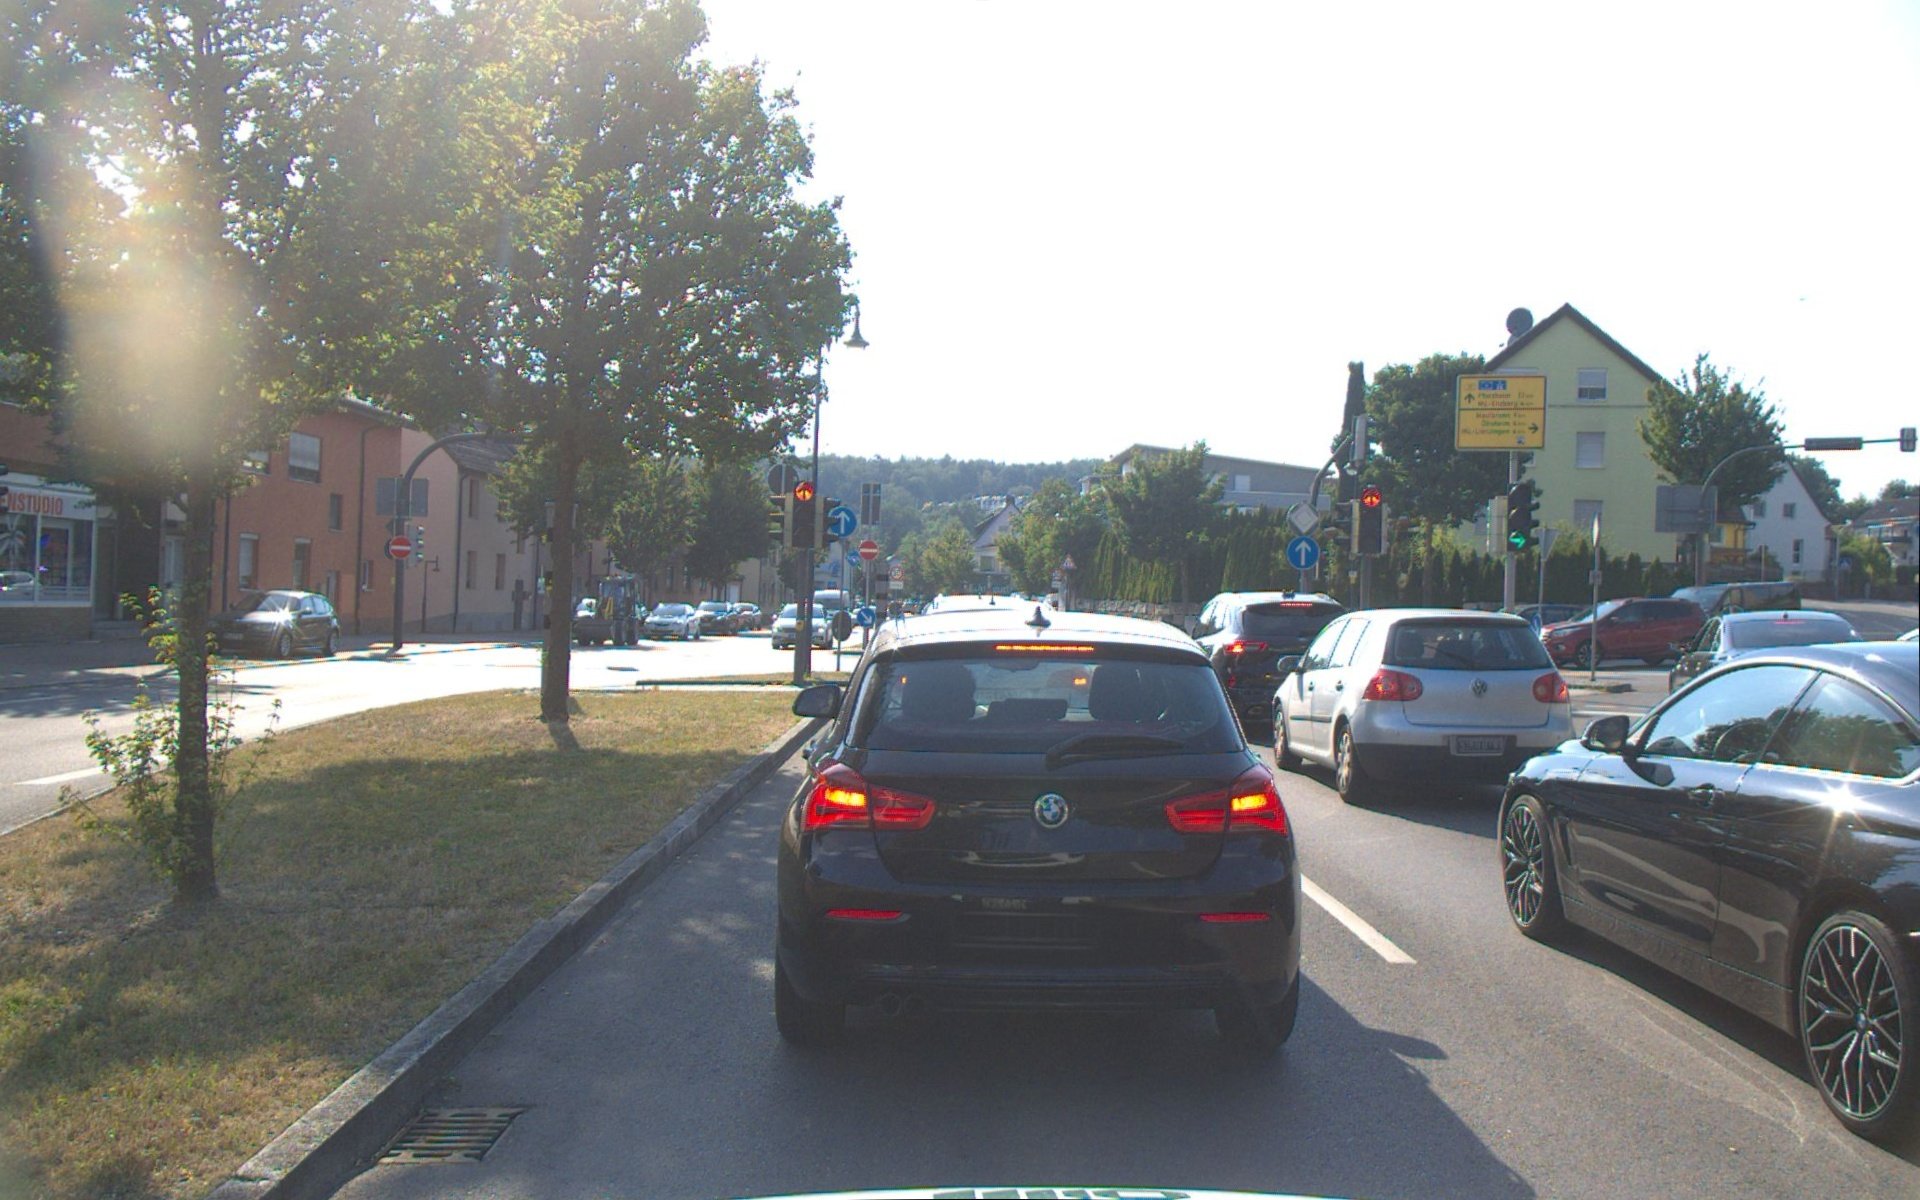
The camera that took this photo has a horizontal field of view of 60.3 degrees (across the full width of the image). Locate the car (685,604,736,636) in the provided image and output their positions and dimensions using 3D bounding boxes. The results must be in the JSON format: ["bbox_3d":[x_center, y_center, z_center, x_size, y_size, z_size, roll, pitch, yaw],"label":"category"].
[{"bbox_3d":[-12.074,0.951,80.253,1.701,1.323,3.800,5,0,2],"label":"car"}]

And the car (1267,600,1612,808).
[{"bbox_3d":[3.796,0.744,13.782,1.725,1.451,3.902,-1,0,0],"label":"car"}]

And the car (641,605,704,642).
[{"bbox_3d":[-11.862,0.952,68.439,1.701,1.323,3.800,5,0,2],"label":"car"}]

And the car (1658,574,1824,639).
[{"bbox_3d":[22.387,0.203,47.383,4.712,1.770,1.832,1,0,-27],"label":"car"}]

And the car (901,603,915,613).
[{"bbox_3d":[-7.483,1.121,239.403,1.701,1.323,3.800,5,0,2],"label":"car"}]

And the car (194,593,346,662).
[{"bbox_3d":[-15.470,0.577,37.298,1.702,1.323,3.999,5,0,-1],"label":"car"}]

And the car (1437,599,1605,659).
[{"bbox_3d":[15.170,0.768,44.842,3.907,1.515,1.847,1,0,-3],"label":"car"}]

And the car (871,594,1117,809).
[{"bbox_3d":[0.240,0.719,13.990,1.751,1.520,4.280,-1,0,0],"label":"car"}]

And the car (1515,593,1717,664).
[{"bbox_3d":[16.326,0.695,41.263,4.333,1.670,1.845,1,0,-8],"label":"car"}]

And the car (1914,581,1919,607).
[{"bbox_3d":[65.158,-0.425,110.795,1.930,1.709,4.202,0,0,34],"label":"car"}]

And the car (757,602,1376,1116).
[{"bbox_3d":[0.300,0.738,6.845,1.751,1.422,4.280,-1,0,0],"label":"car"}]

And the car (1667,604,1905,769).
[{"bbox_3d":[9.049,0.856,18.467,1.621,1.569,4.401,-1,0,17],"label":"car"}]

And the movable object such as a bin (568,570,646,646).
[{"bbox_3d":[-12.013,0.266,56.550,1.701,2.485,4.449,0,0,0],"label":"movable object such as a bin"}]

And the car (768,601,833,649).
[{"bbox_3d":[-5.307,0.808,55.414,1.801,1.508,4.000,1,0,0],"label":"car"}]

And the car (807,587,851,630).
[{"bbox_3d":[-7.877,0.514,100.091,2.041,2.435,5.529,1,0,1],"label":"car"}]

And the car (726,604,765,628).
[{"bbox_3d":[-13.309,0.979,102.639,1.701,1.323,3.800,5,0,2],"label":"car"}]

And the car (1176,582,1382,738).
[{"bbox_3d":[3.749,0.652,20.064,1.725,1.685,3.902,-1,0,0],"label":"car"}]

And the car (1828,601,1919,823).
[{"bbox_3d":[7.625,0.802,11.634,1.583,1.569,3.320,-1,0,6],"label":"car"}]

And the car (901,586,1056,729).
[{"bbox_3d":[0.210,0.652,21.030,1.751,1.622,4.280,-1,0,0],"label":"car"}]

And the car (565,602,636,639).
[{"bbox_3d":[-14.499,0.810,66.912,1.701,1.323,4.001,5,0,3],"label":"car"}]

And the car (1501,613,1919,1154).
[{"bbox_3d":[3.475,0.788,5.826,1.725,1.422,4.280,-1,0,0],"label":"car"}]
